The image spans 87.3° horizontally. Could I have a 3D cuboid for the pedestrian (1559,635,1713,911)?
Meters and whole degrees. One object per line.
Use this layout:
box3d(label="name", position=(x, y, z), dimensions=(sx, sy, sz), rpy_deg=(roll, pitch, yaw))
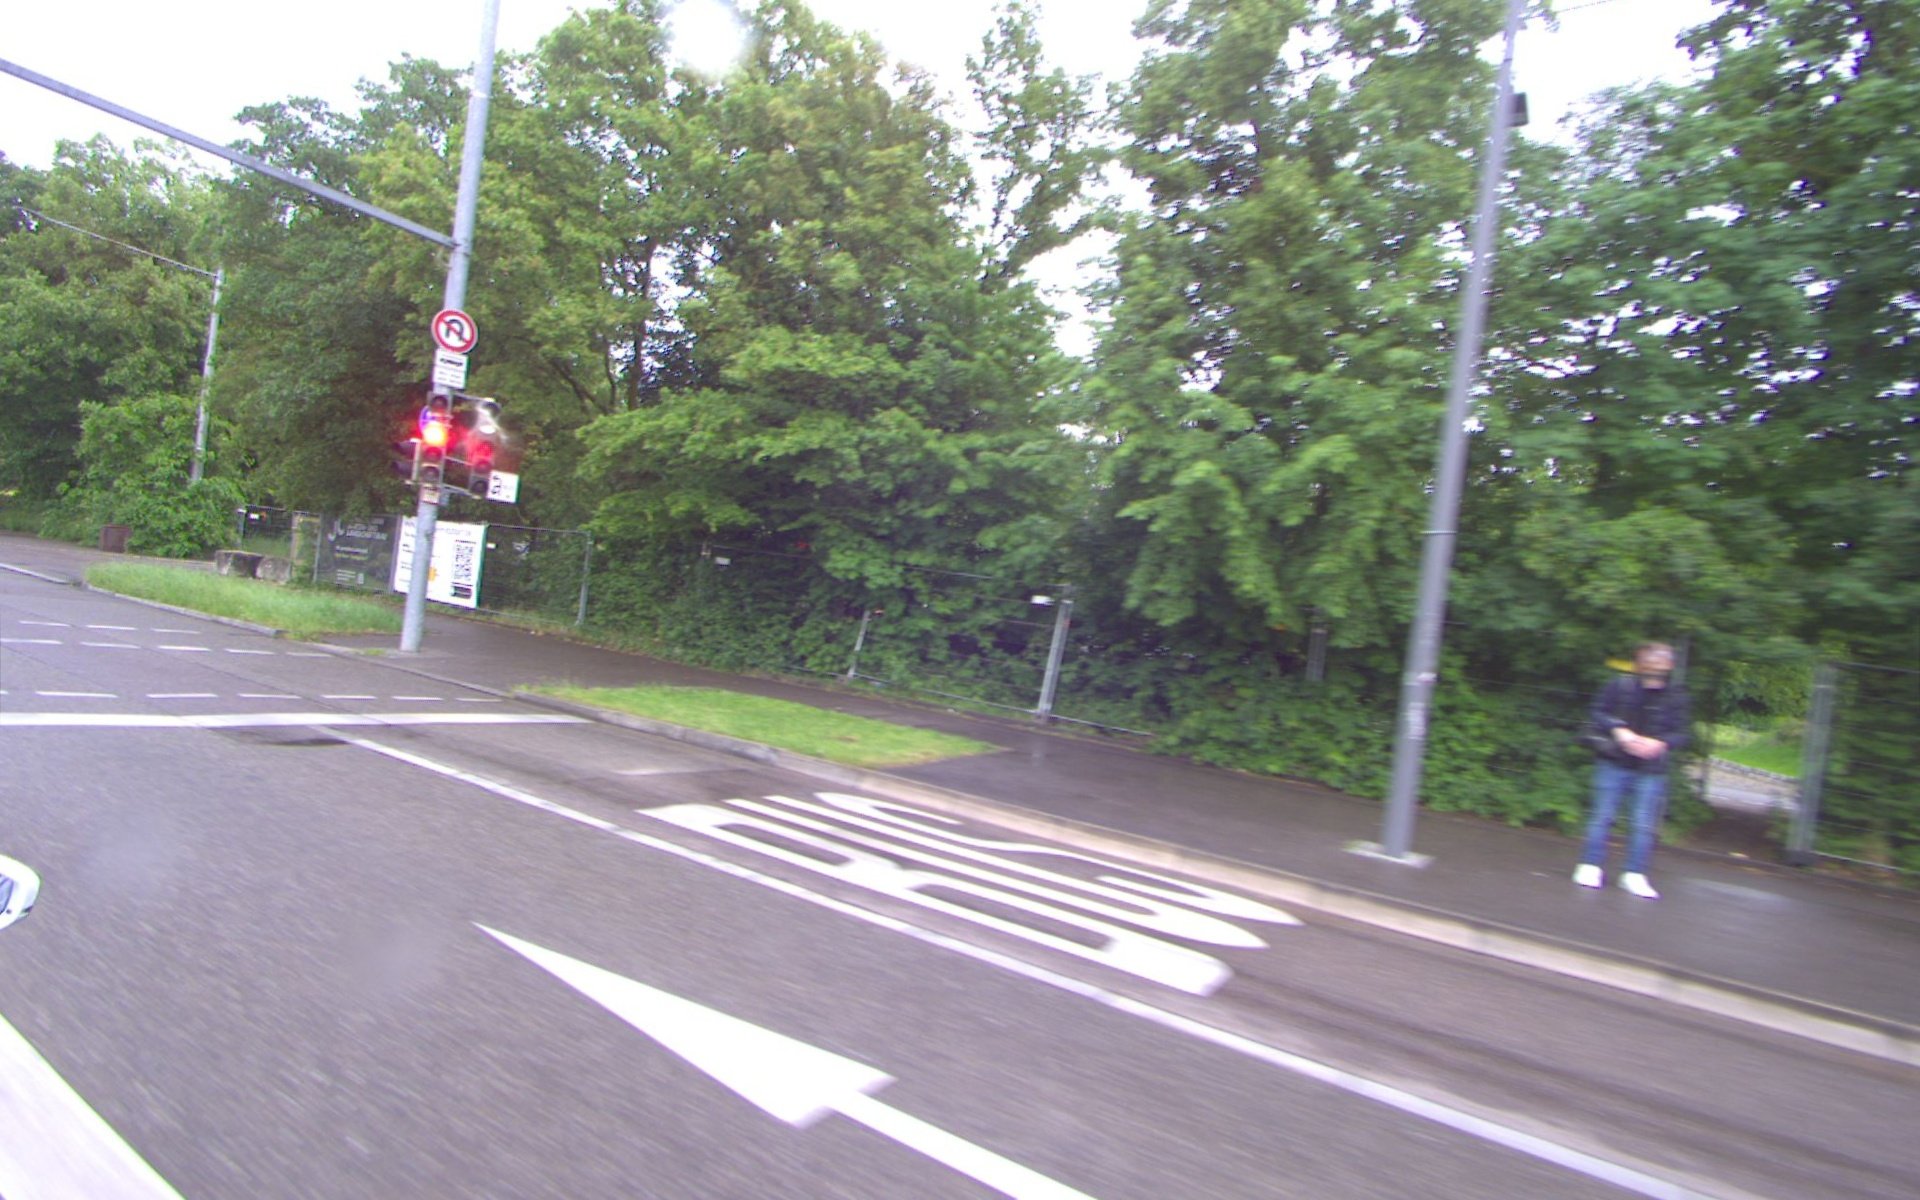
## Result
box3d(label="pedestrian", position=(5.147, 1.276, 7.708), dimensions=(0.706, 1.924, 0.642), rpy_deg=(7, 1, 27))
